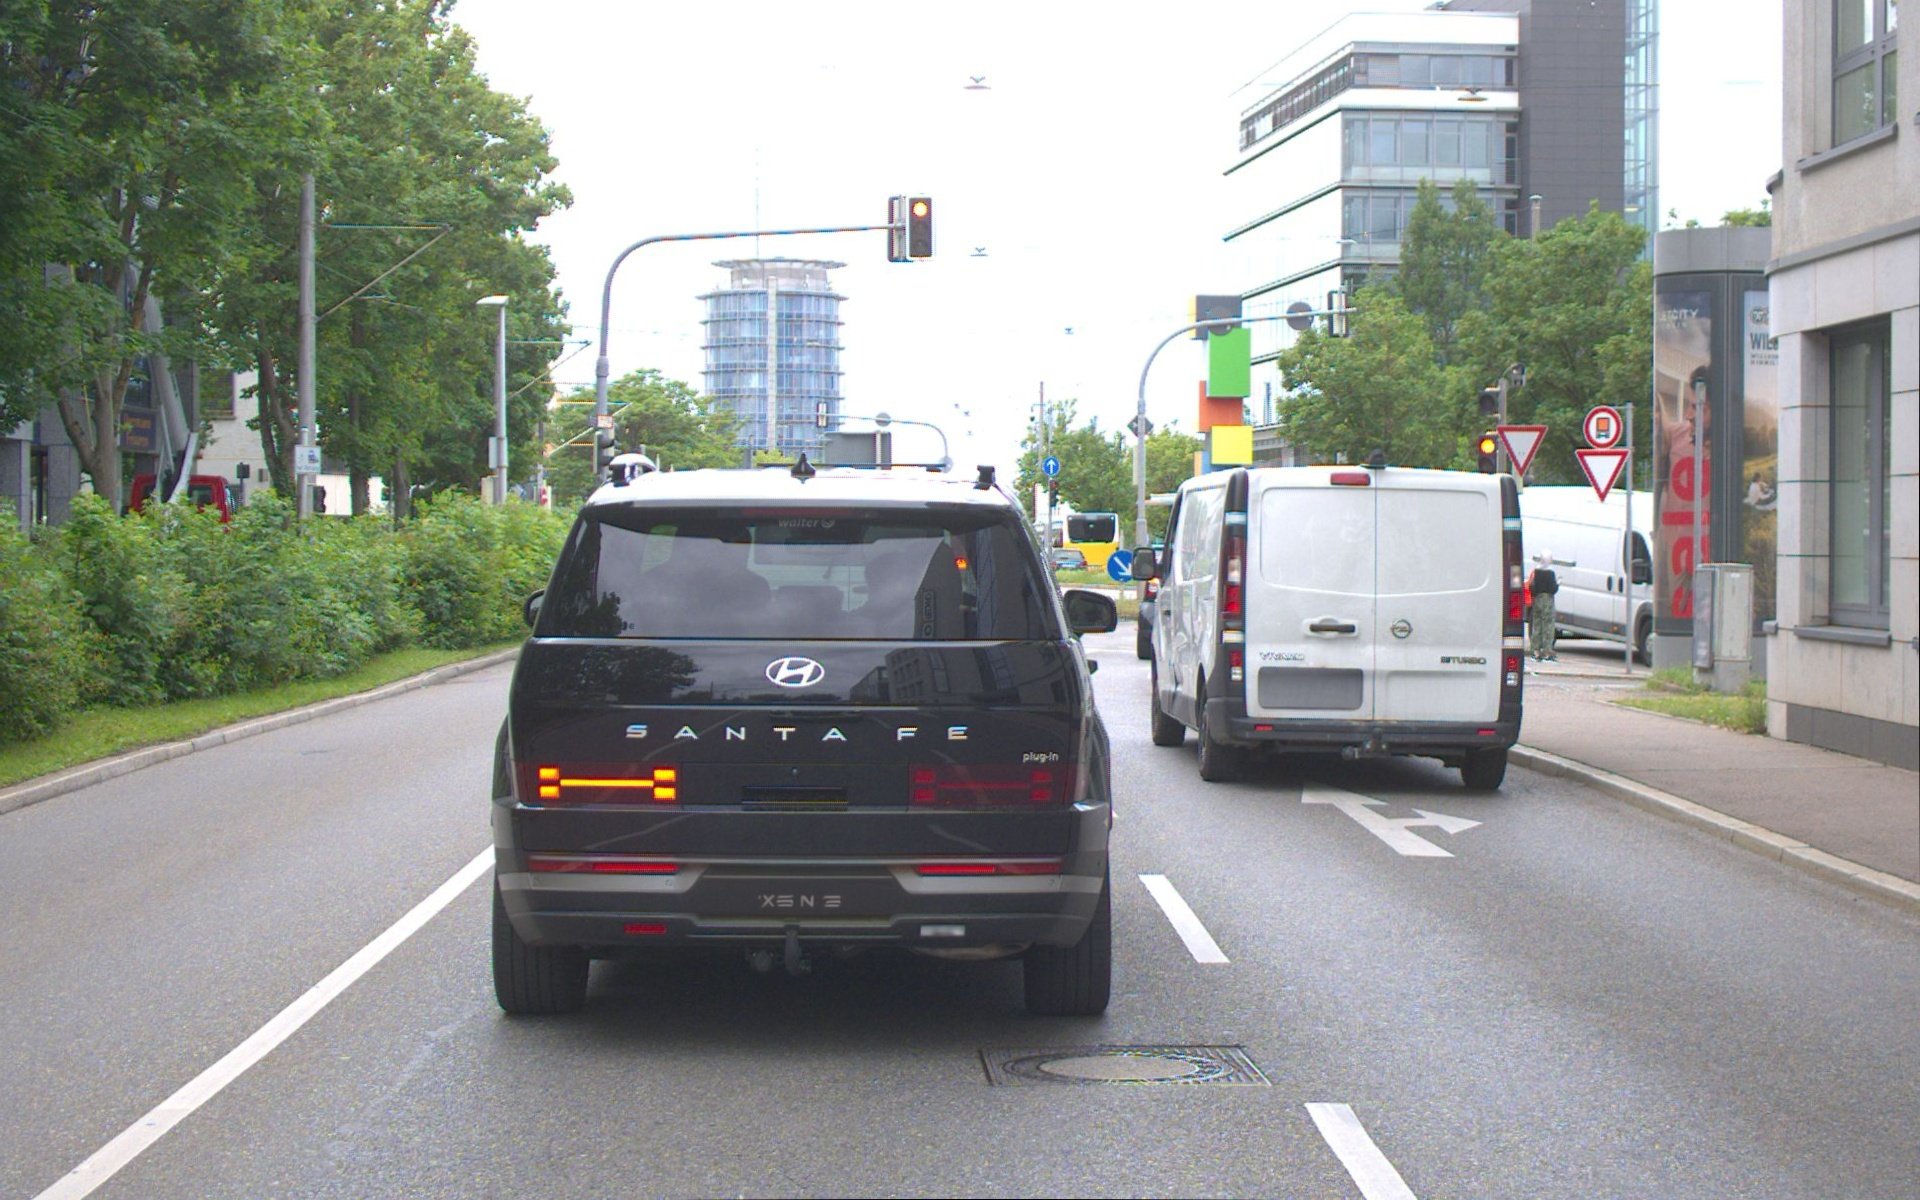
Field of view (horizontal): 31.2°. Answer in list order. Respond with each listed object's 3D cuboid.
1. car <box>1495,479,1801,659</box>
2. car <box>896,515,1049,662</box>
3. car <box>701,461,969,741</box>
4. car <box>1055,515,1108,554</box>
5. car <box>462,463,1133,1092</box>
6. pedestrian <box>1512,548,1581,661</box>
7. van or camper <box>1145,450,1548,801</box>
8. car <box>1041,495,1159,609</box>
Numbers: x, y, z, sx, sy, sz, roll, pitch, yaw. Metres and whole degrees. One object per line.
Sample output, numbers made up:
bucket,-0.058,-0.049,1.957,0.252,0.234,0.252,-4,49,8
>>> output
car,10.407,-0.476,52.577,2.297,2.564,5.839,1,0,-14
car,0.184,-0.154,42.747,1.776,1.711,4.338,1,0,1
car,-0.923,-0.026,26.526,1.915,1.996,3.880,0,1,-1
car,5.460,-2.931,154.559,1.993,1.678,4.001,1,0,-3
car,-0.481,0.461,11.530,1.869,1.754,3.880,0,1,-1
pedestrian,8.403,0.069,49.244,0.738,1.579,0.573,1,2,-40
van or camper,2.365,0.107,22.259,1.993,2.007,4.653,1,1,-1
car,2.537,-0.870,62.998,1.993,2.007,4.000,1,0,0
